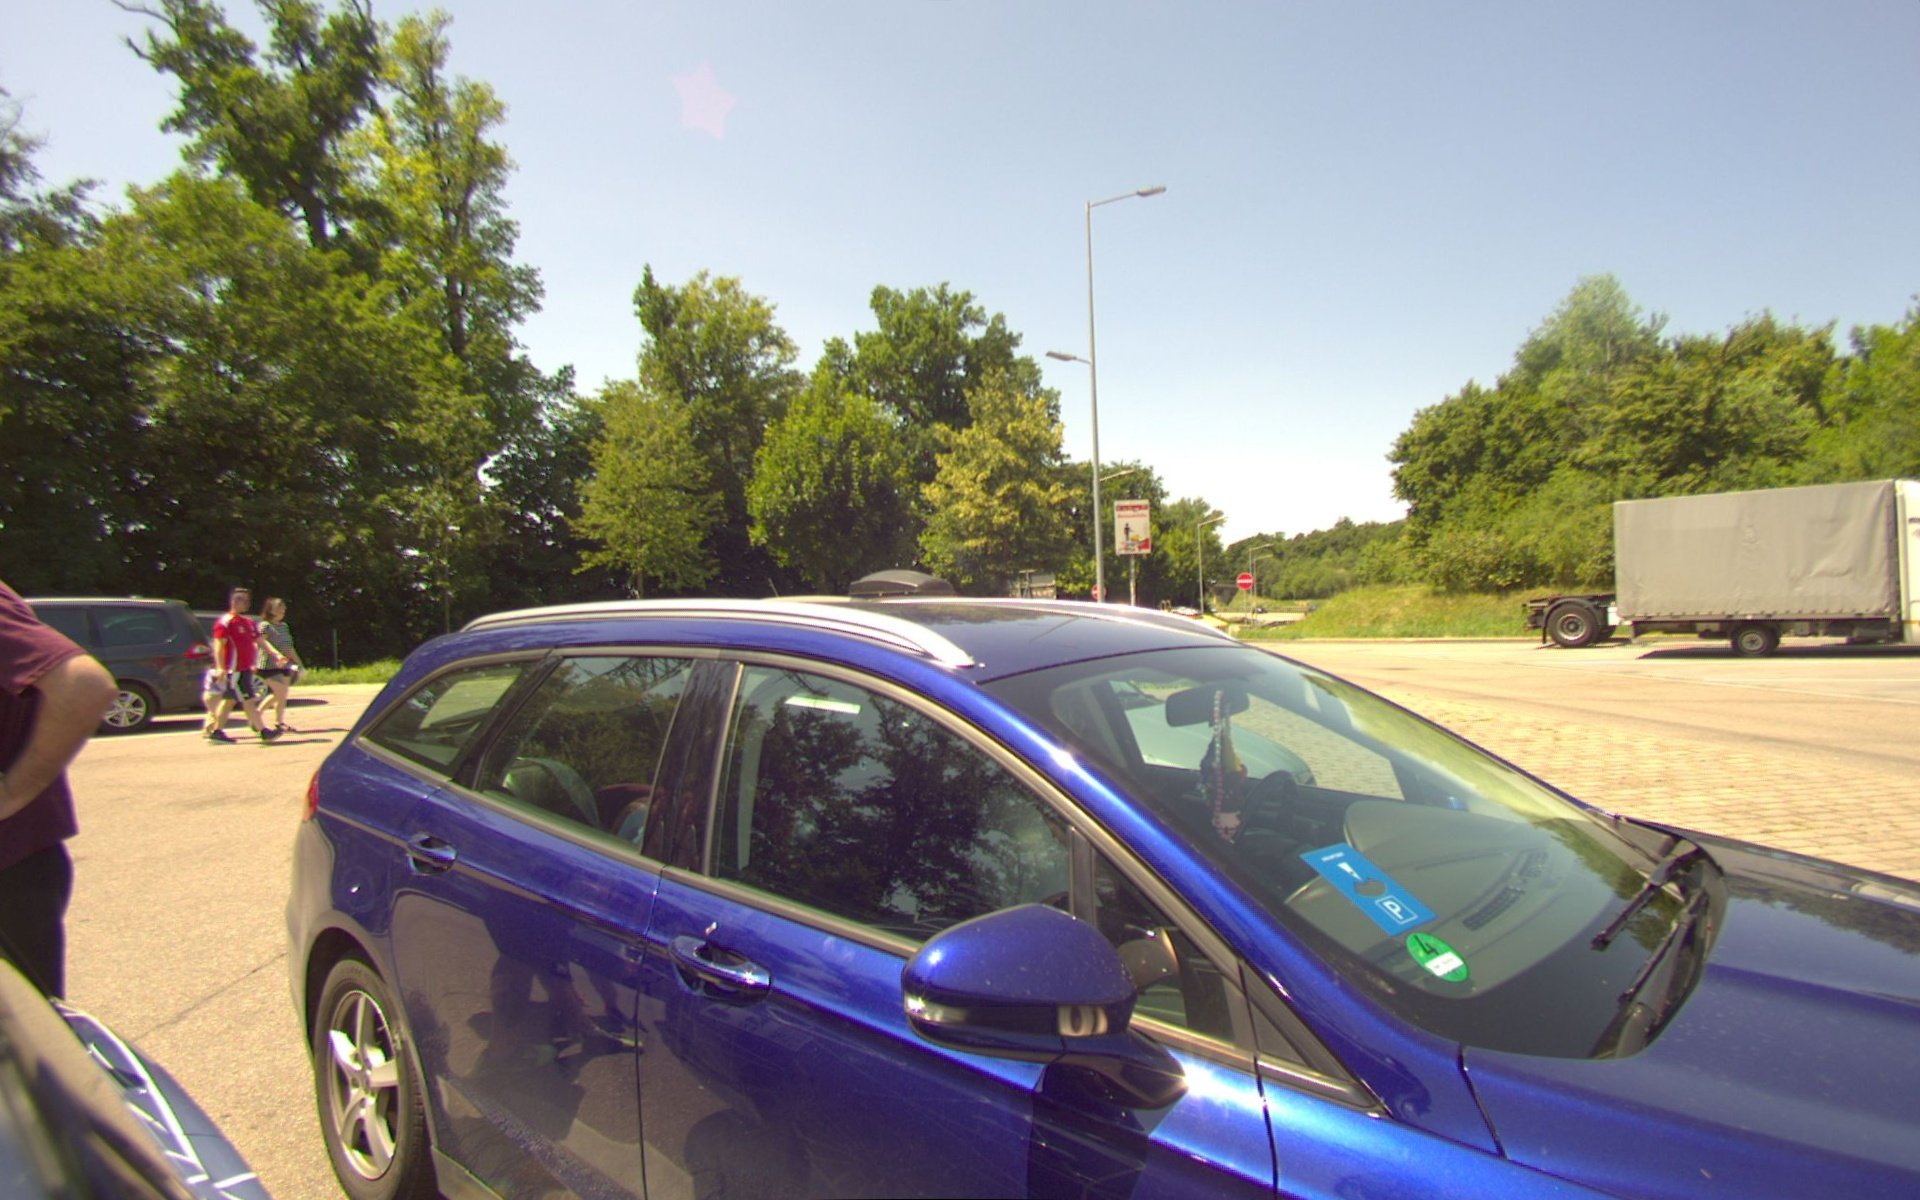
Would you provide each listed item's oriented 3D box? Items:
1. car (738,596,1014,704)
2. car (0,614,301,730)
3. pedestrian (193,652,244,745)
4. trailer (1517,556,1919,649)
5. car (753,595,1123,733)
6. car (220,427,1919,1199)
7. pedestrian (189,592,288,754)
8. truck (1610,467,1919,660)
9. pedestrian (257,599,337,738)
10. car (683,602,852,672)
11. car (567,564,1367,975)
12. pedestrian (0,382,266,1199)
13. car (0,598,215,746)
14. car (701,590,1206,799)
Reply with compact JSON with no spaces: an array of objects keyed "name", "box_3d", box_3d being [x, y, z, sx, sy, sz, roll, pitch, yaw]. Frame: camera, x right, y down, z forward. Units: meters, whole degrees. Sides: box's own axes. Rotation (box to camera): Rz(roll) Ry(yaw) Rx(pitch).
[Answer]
[{"name":"car","box_3d":[-1.482,0.827,16.863,4.485,1.562,1.756,-3,-1,36]},{"name":"car","box_3d":[-12.601,1.004,15.471,1.687,1.515,3.943,-1,0,43]},{"name":"pedestrian","box_3d":[-8.832,1.156,12.067,0.427,1.052,0.441,-1,-1,-28]},{"name":"trailer","box_3d":[17.249,0.127,23.395,7.295,1.701,2.235,-4,-1,43]},{"name":"car","box_3d":[-0.391,0.776,12.763,4.485,1.437,1.756,-3,-1,36]},{"name":"car","box_3d":[0.248,0.662,2.143,4.490,1.502,1.851,-3,0,40]},{"name":"pedestrian","box_3d":[-8.141,0.798,11.450,0.819,1.746,0.678,-1,-1,-28]},{"name":"truck","box_3d":[16.823,-0.654,18.967,7.295,3.259,2.709,-4,-1,43]},{"name":"pedestrian","box_3d":[-8.363,0.840,12.765,0.820,1.676,0.677,-1,-1,-35]},{"name":"car","box_3d":[-5.155,0.942,27.694,1.993,1.725,4.567,-1,0,32]},{"name":"car","box_3d":[-0.264,0.695,5.841,4.490,1.511,1.754,-3,-1,40]},{"name":"pedestrian","box_3d":[-2.043,0.560,2.026,0.849,1.847,0.864,-1,0,-17]},{"name":"car","box_3d":[-11.947,0.859,12.307,4.553,1.725,1.741,0,-1,-41]},{"name":"car","box_3d":[-0.250,0.750,9.216,4.490,1.437,1.754,-3,-1,40]}]
